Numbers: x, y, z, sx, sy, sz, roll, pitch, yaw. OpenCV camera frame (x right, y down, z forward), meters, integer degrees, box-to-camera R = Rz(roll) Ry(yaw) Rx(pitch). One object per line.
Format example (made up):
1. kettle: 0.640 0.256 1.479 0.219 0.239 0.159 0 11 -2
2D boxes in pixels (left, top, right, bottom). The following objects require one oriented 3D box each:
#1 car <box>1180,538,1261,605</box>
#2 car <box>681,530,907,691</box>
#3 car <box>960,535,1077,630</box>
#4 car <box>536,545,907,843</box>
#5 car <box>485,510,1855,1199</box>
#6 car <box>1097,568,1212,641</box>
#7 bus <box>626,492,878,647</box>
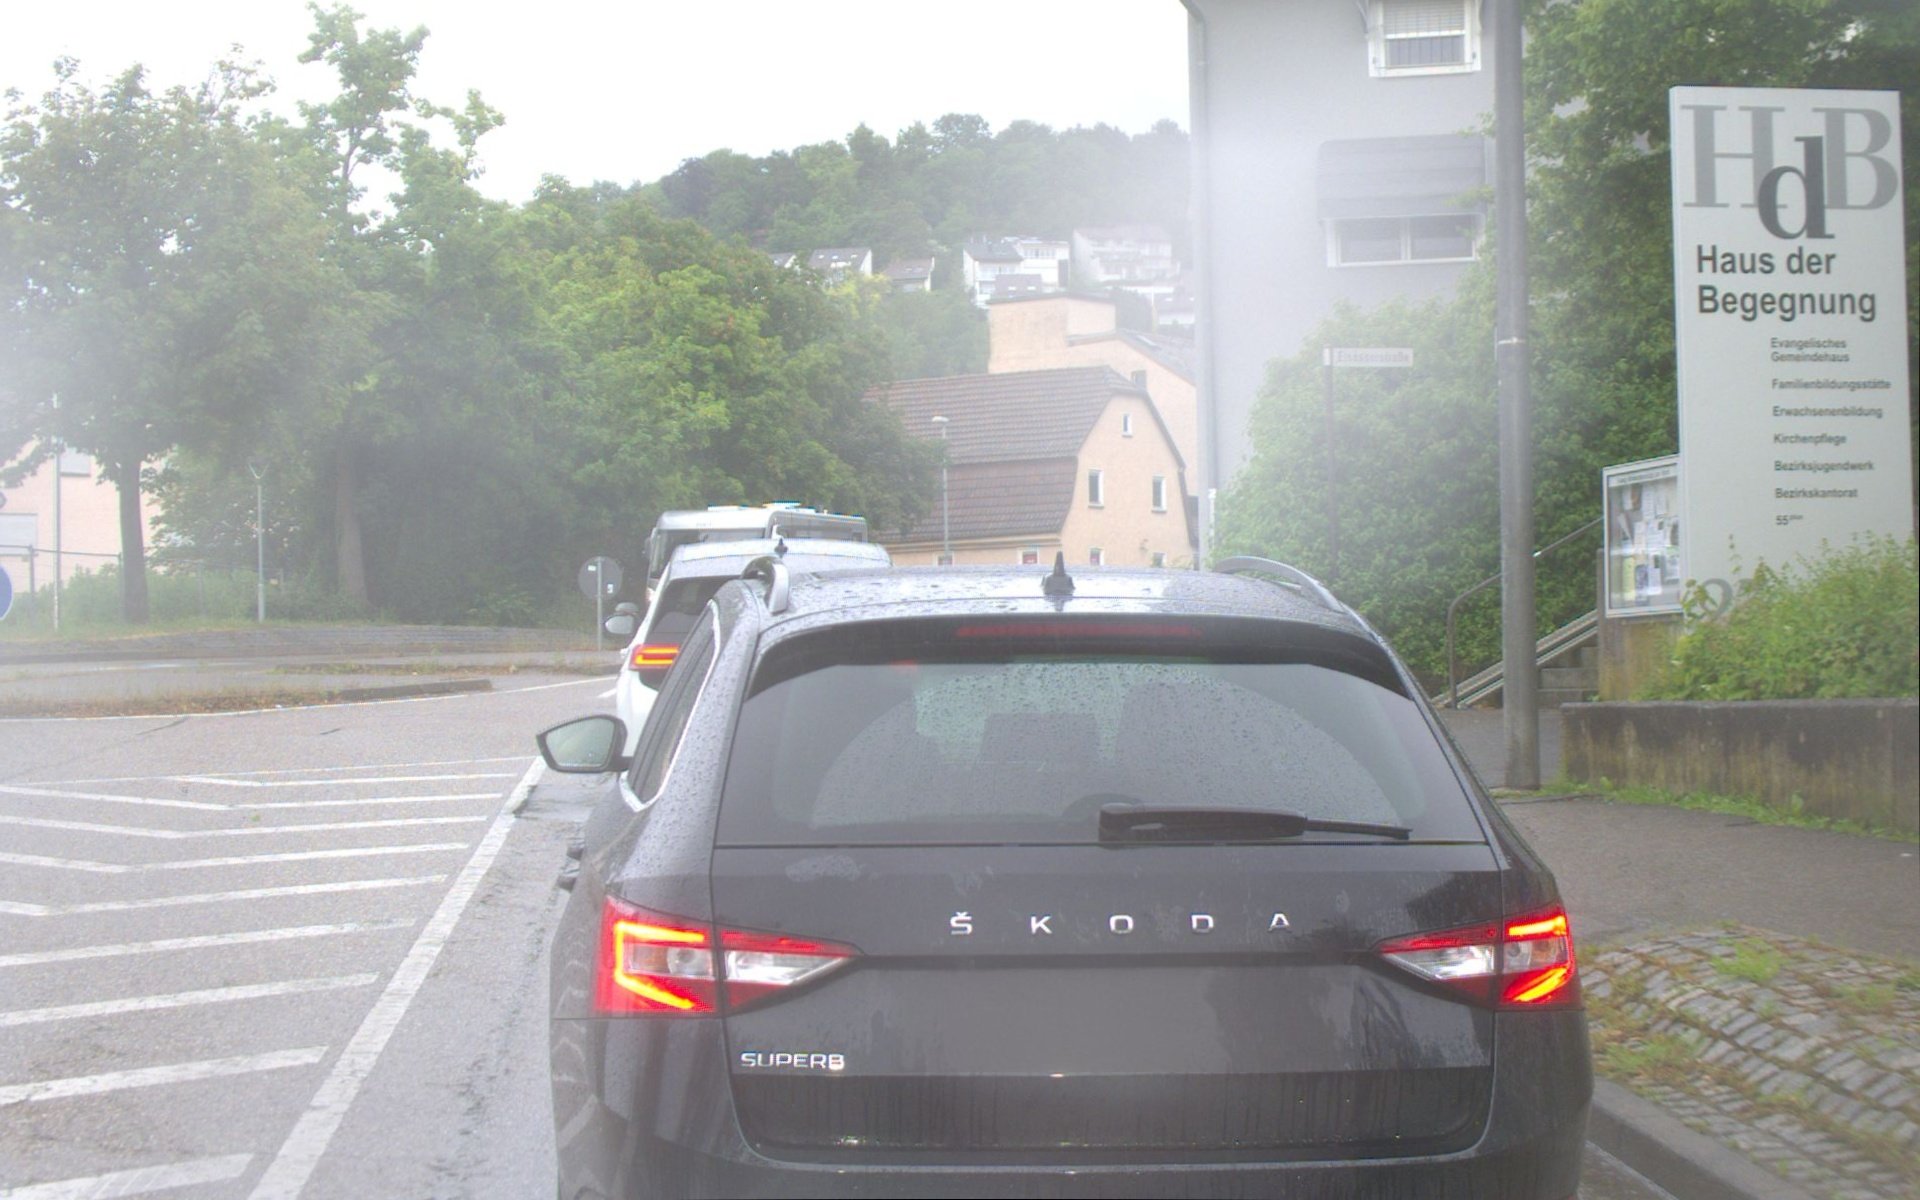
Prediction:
1. car: 8.111 -0.869 107.258 1.993 2.007 4.000 1 0 -3
2. car: -1.482 0.089 32.199 1.848 1.405 4.301 0 0 1
3. car: 1.010 -0.319 57.588 1.567 1.525 3.999 0 1 6
4. car: -1.233 0.473 19.391 1.828 1.495 4.168 0 0 0
5. car: 0.063 0.648 7.205 1.953 1.502 4.609 2 0 -6
6. car: 4.221 0.080 74.041 1.994 1.448 3.769 -3 0 10
7. bus: -3.711 -0.605 63.069 2.398 2.667 7.042 0 1 16
